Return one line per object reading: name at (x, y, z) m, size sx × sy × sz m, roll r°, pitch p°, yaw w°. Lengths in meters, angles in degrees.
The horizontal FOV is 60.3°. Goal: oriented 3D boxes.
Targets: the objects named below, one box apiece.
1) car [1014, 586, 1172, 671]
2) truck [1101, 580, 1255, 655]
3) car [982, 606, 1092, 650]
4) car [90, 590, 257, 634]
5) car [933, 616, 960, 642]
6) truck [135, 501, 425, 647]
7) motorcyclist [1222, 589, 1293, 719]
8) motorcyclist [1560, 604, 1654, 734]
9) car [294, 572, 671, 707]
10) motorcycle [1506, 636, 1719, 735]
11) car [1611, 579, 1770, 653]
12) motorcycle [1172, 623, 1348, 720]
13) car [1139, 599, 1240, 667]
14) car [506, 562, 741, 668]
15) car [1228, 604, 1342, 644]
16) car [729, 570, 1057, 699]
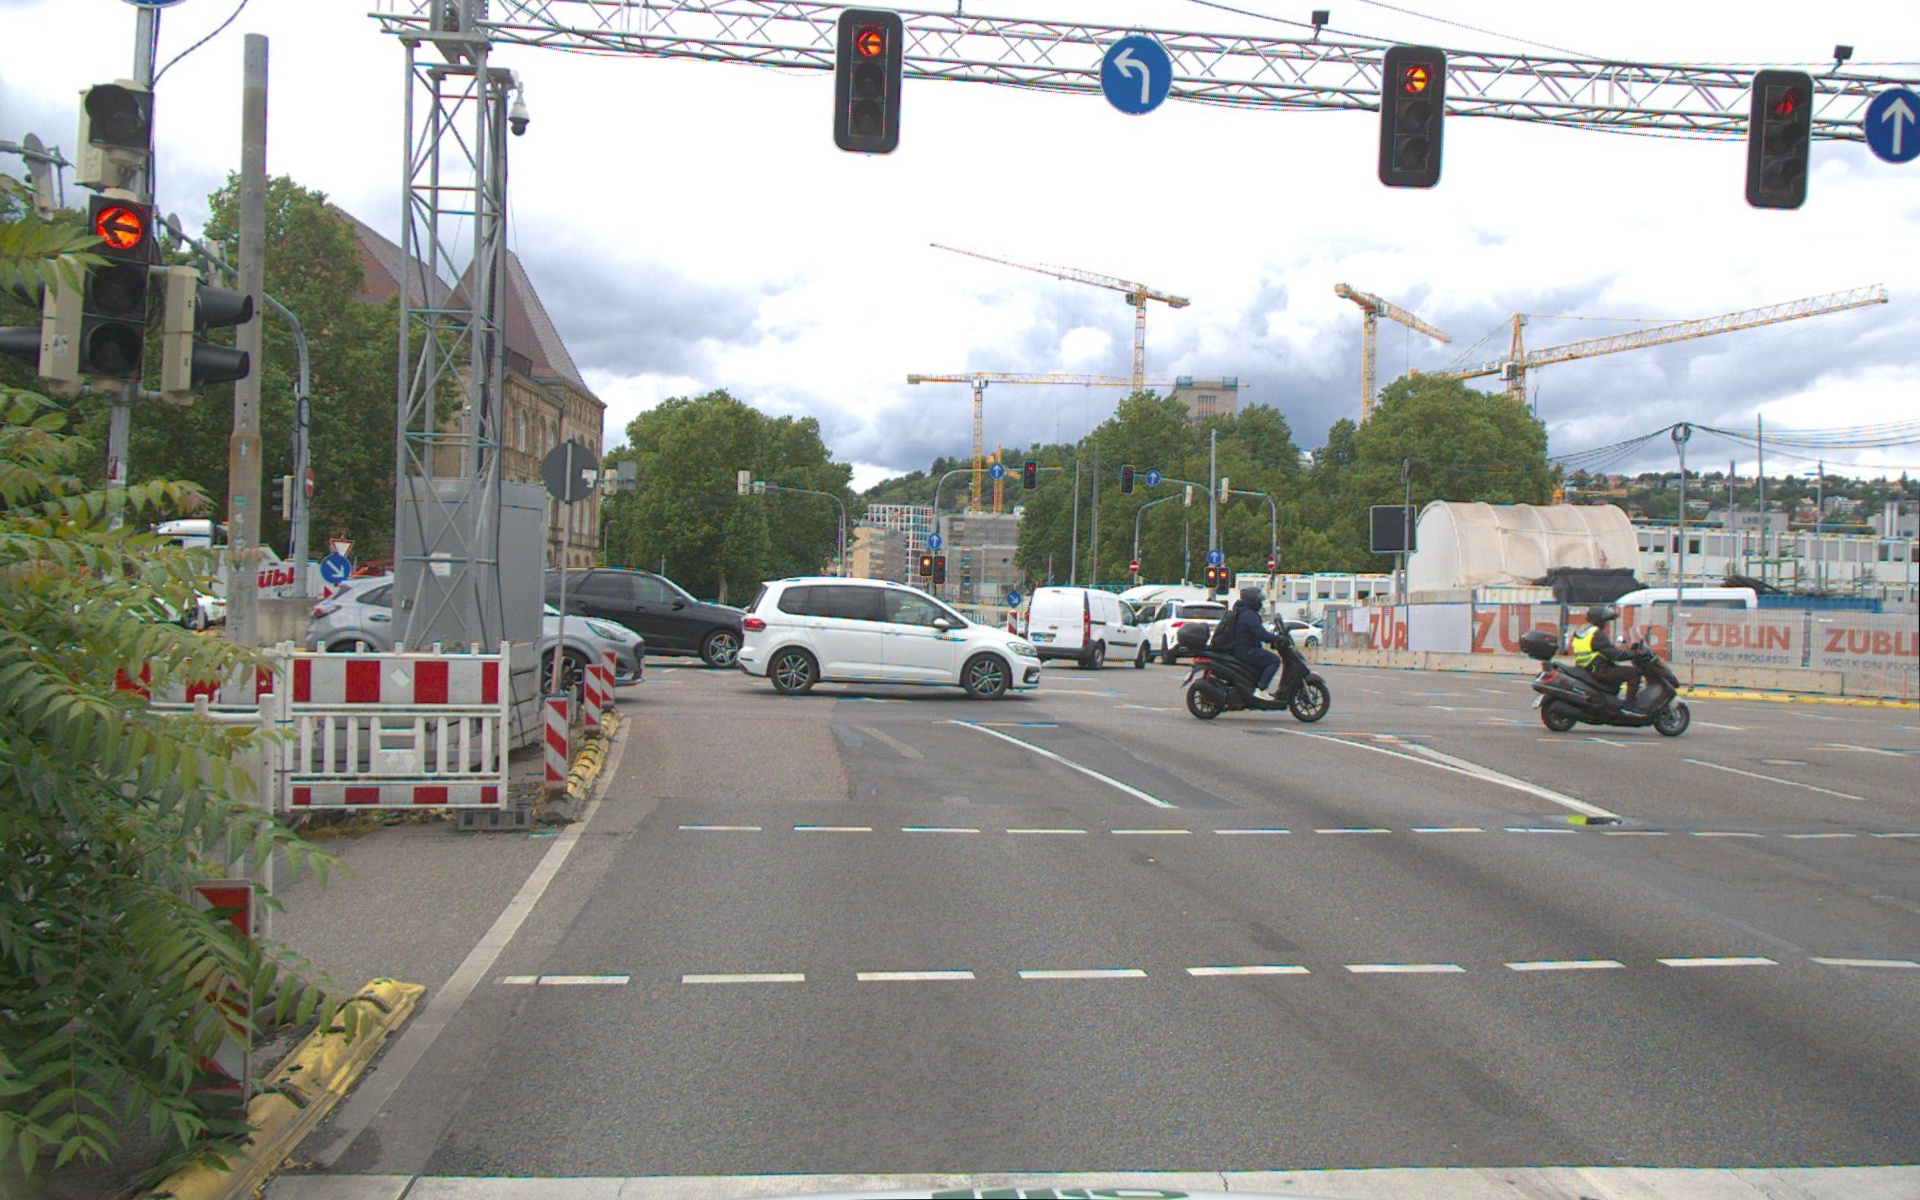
car at (3.206, 0.649, 38.952) m, size 1.829 × 1.865 × 4.712 m, roll 1°, pitch 0°, yaw 30°
truck at (9.651, 0.787, 73.210) m, size 6.495 × 3.201 × 2.349 m, roll 1°, pitch 0°, yaw -24°
car at (3.435, 1.238, 73.640) m, size 4.508 × 1.806 × 1.984 m, roll 2°, pitch 0°, yaw -26°
car at (-26.988, 0.416, 56.969) m, size 5.066 × 1.444 × 2.220 m, roll 1°, pitch 0°, yaw -24°
car at (-1.044, 2.173, 126.050) m, size 1.953 × 1.870 × 3.999 m, roll 1°, pitch 0°, yaw -1°
truck at (-24.983, -0.868, 61.155) m, size 9.584 × 5.047 × 3.091 m, roll 1°, pitch -1°, yaw -24°
motorcyclist at (3.802, 0.685, 21.189) m, size 0.770 × 1.624 × 0.652 m, roll 1°, pitch -1°, yaw 0°
motorcyclist at (8.177, 0.856, 20.941) m, size 0.860 × 1.598 × 0.817 m, roll 1°, pitch 0°, yaw 0°
car at (-5.942, 0.484, 21.026) m, size 4.209 × 1.567 × 1.999 m, roll 1°, pitch 0°, yaw -3°
motorcycle at (8.235, 1.067, 20.938) m, size 2.373 × 1.175 × 0.817 m, roll 1°, pitch 0°, yaw 0°
car at (21.061, 0.449, 47.829) m, size 3.902 × 2.049 × 2.001 m, roll 1°, pitch 0°, yaw 15°
motorcycle at (3.829, 0.905, 21.187) m, size 2.123 × 1.175 × 0.652 m, roll 1°, pitch 0°, yaw 0°
car at (6.397, 0.882, 46.587) m, size 1.954 × 1.790 × 4.501 m, roll 1°, pitch 0°, yaw -4°
car at (-6.312, 0.288, 31.063) m, size 4.171 × 1.866 × 1.993 m, roll 1°, pitch 0°, yaw -14°
car at (15.684, 1.171, 79.727) m, size 5.101 × 1.816 × 2.149 m, roll 1°, pitch 0°, yaw -24°
car at (-0.970, 0.491, 24.244) m, size 4.577 × 1.732 × 1.999 m, roll 1°, pitch 0°, yaw -3°
